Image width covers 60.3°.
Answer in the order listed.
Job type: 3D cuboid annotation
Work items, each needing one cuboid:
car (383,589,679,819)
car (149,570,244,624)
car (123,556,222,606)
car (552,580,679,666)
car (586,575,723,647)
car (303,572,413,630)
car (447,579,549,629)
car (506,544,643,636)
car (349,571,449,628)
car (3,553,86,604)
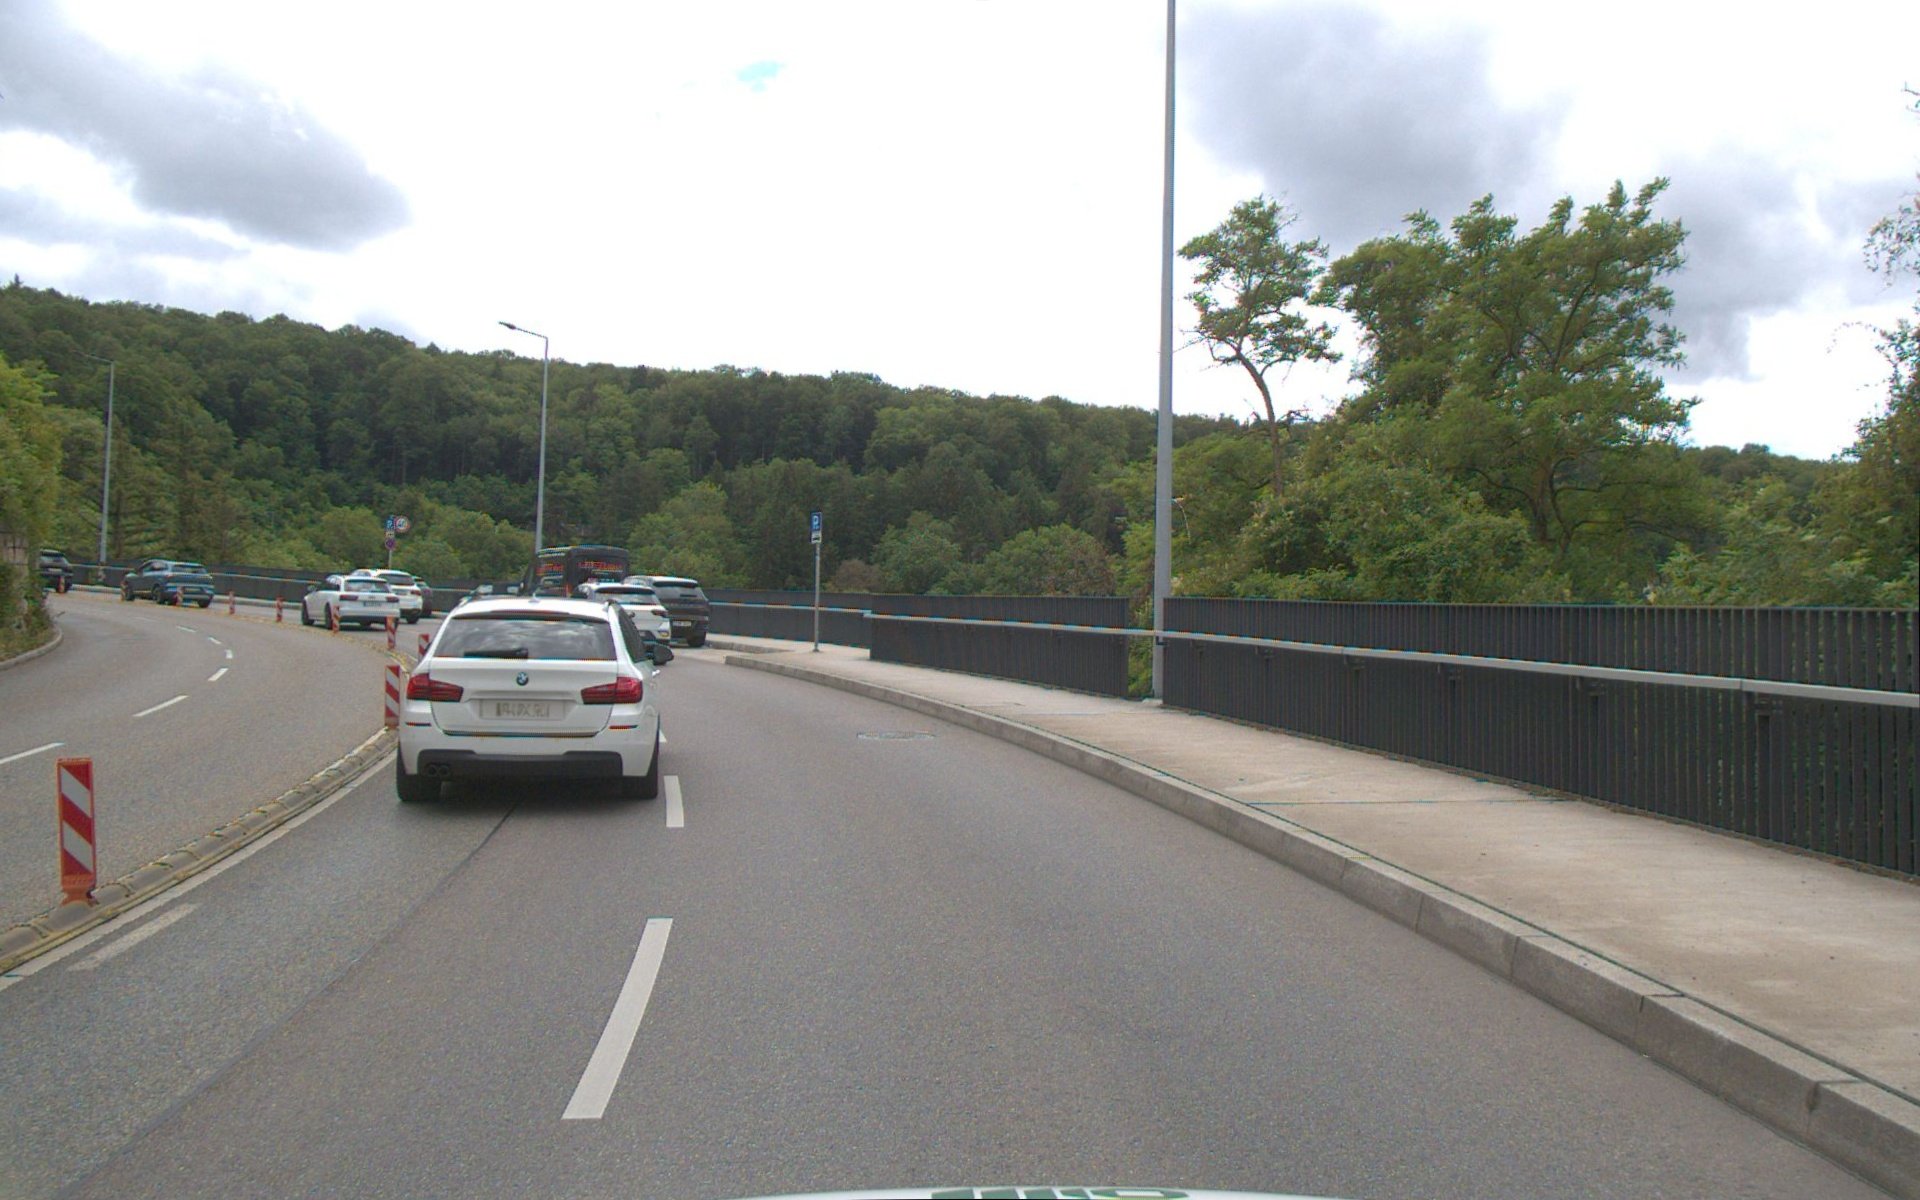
[{"bbox_3d":[-3.232,0.679,13.265,1.794,1.485,4.478,0,1,-8],"label":"car"},{"bbox_3d":[-29.991,-0.124,64.914,3.927,2.049,1.989,0,0,41],"label":"car"},{"bbox_3d":[-27.725,-0.665,58.204,1.986,1.677,3.934,-1,0,-45],"label":"car"},{"bbox_3d":[-7.029,0.434,33.469,1.803,1.634,3.971,0,0,-23],"label":"car"},{"bbox_3d":[-8.029,0.269,43.115,1.973,1.748,4.998,1,0,-30],"label":"car"},{"bbox_3d":[-16.877,0.015,46.230,1.975,1.529,4.615,0,0,-32],"label":"car"},{"bbox_3d":[-14.953,0.125,53.444,1.704,1.456,3.794,2,0,-40],"label":"car"},{"bbox_3d":[-11.461,-0.349,48.842,2.147,2.565,5.705,-1,1,-33],"label":"car"},{"bbox_3d":[-18.090,-0.021,53.232,1.978,1.748,4.061,-1,0,-36],"label":"car"},{"bbox_3d":[-36.437,-0.807,65.804,1.862,1.793,3.933,4,-4,-45],"label":"car"}]
